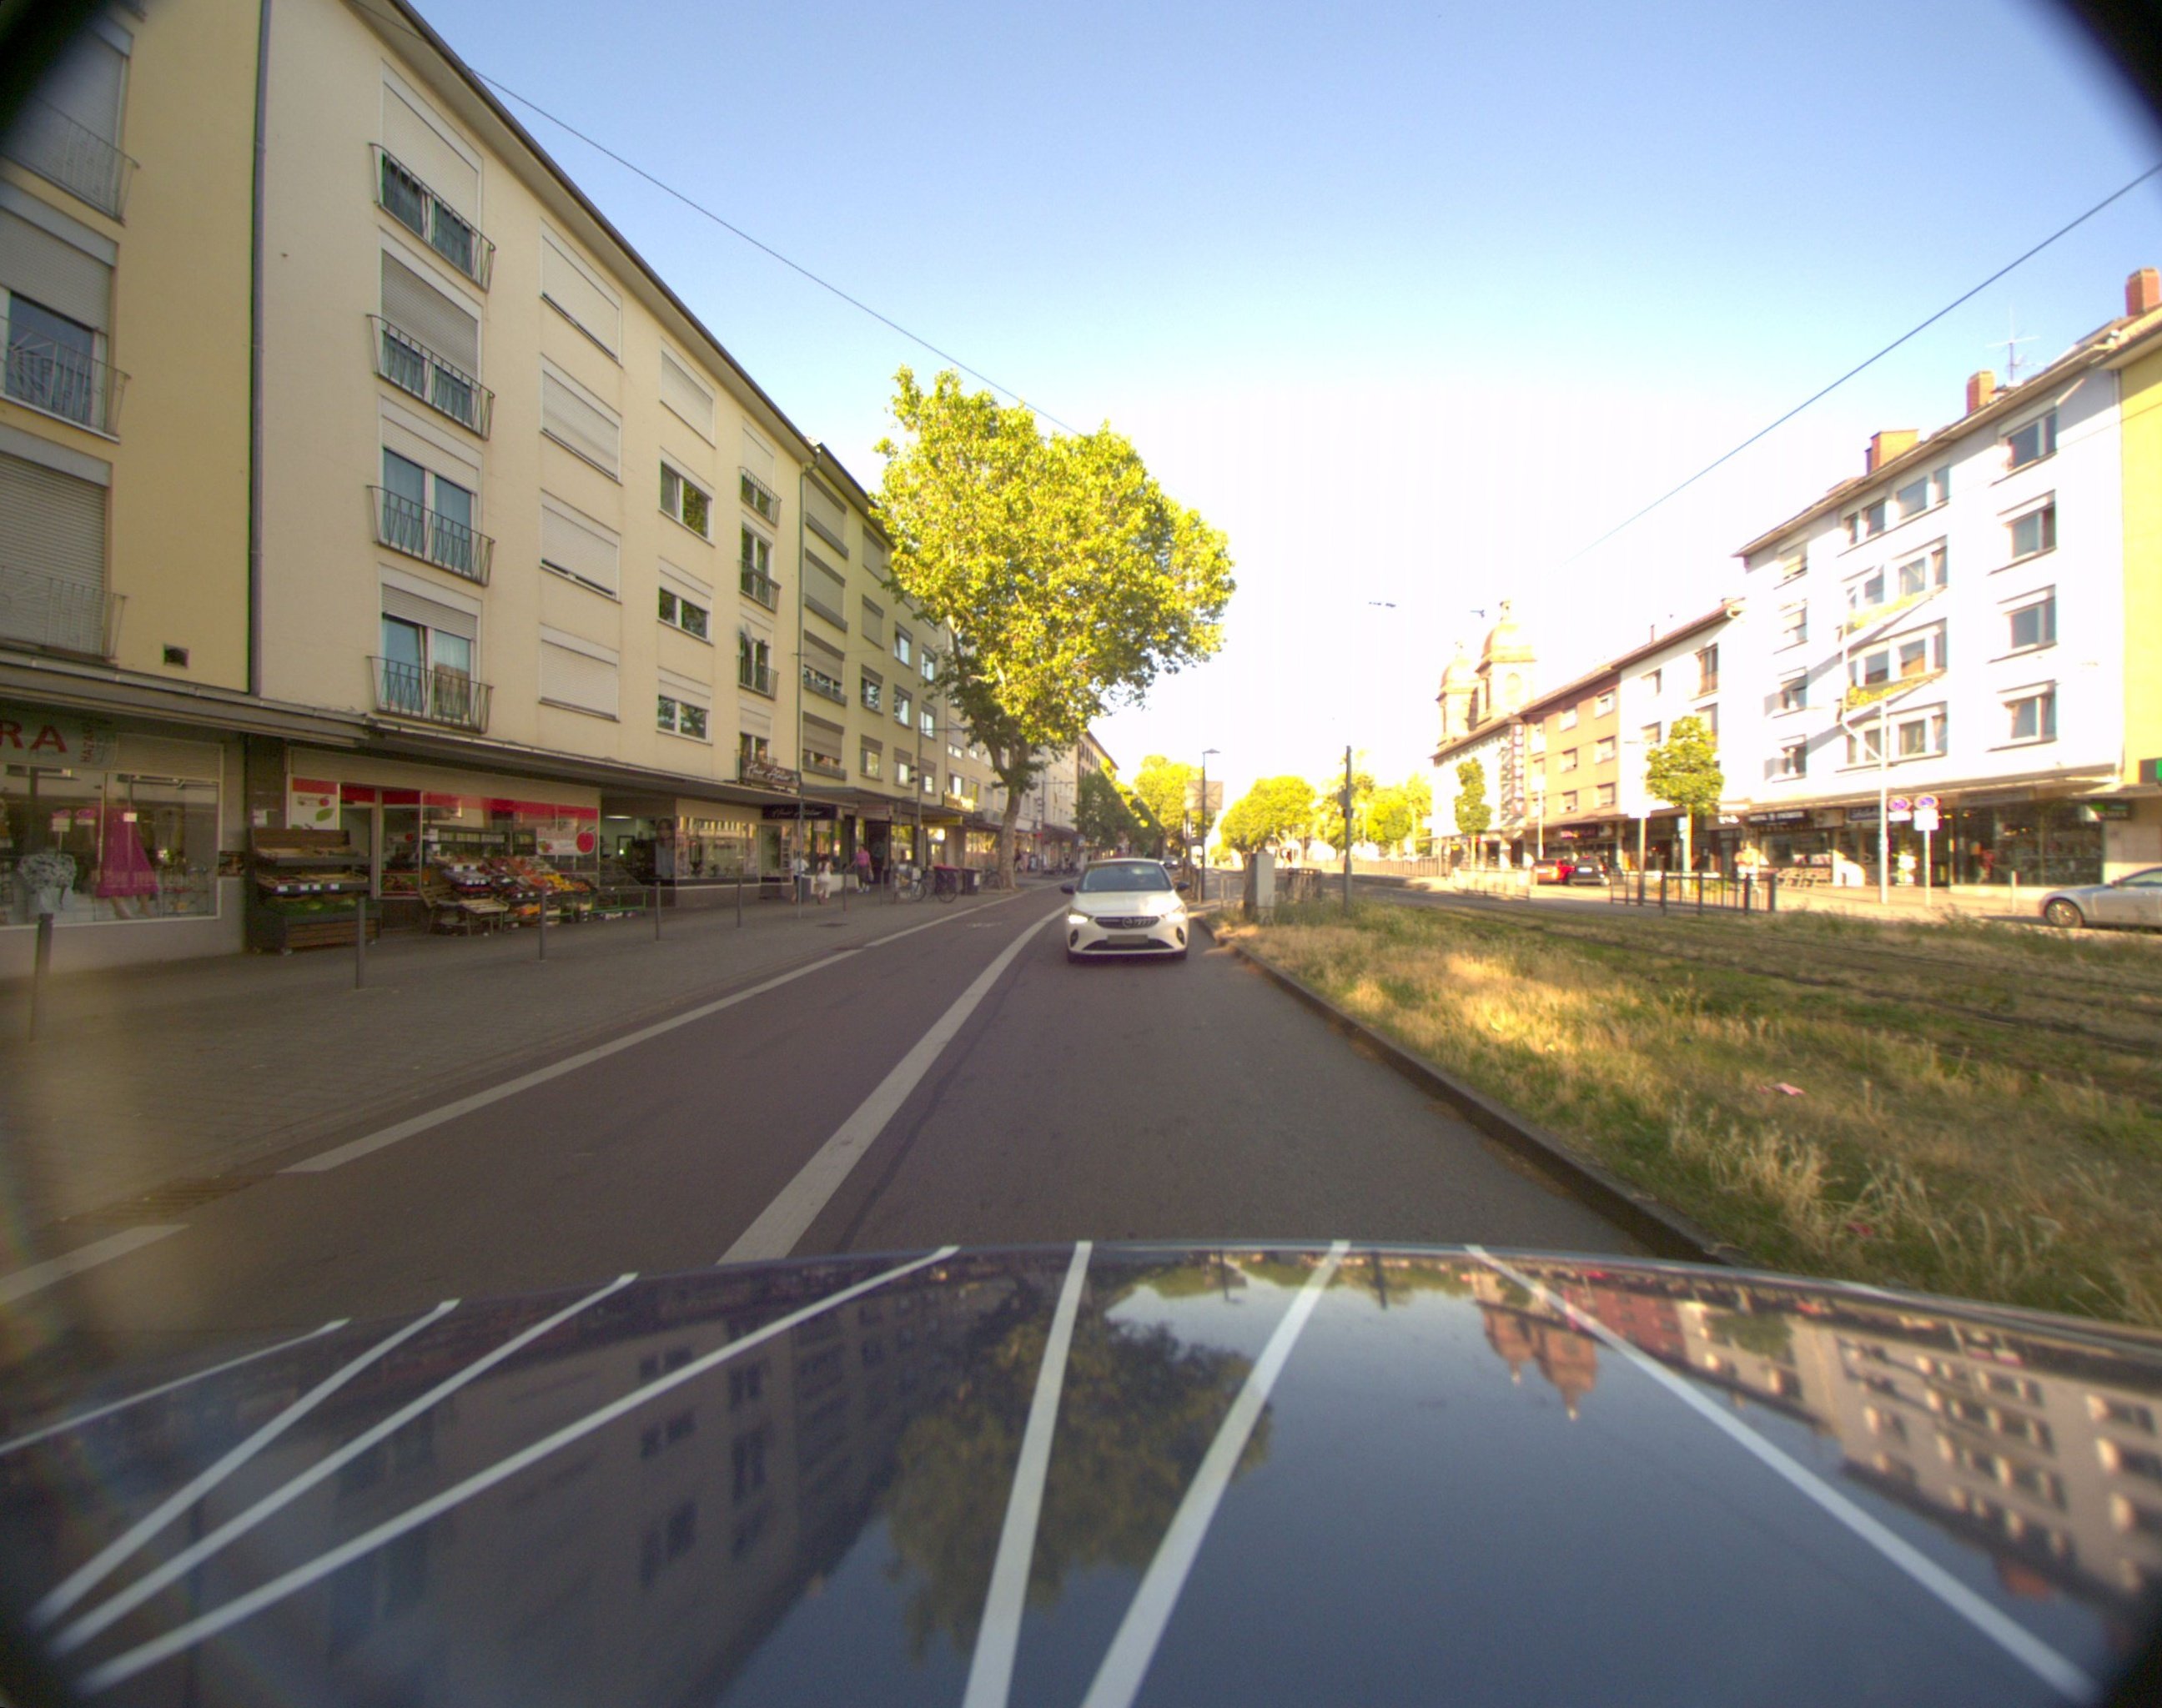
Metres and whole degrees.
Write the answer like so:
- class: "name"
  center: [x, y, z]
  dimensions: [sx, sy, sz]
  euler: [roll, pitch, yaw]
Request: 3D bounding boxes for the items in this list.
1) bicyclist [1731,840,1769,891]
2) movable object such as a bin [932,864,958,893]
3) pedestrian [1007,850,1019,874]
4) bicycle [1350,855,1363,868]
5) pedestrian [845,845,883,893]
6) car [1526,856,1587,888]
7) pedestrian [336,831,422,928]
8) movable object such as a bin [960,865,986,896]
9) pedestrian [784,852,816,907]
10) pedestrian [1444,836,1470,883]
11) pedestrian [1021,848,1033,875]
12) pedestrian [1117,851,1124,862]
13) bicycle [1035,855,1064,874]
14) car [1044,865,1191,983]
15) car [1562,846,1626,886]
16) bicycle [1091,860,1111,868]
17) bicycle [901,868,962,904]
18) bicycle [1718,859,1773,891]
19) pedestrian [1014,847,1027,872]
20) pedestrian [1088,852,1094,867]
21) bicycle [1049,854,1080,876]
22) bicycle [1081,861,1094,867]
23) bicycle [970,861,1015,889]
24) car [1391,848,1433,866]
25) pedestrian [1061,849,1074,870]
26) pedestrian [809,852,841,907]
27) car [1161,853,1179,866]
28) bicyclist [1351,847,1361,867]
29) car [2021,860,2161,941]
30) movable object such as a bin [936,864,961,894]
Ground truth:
- class: "bicyclist"
  center: [25.261, 0.425, 28.707]
  dimensions: [0.693, 1.875, 1.059]
  euler: [-1, 0, 17]
- class: "movable object such as a bin"
  center: [-5.350, 0.954, 29.898]
  dimensions: [0.722, 1.066, 0.645]
  euler: [2, 2, 27]
- class: "pedestrian"
  center: [-4.286, 0.497, 47.855]
  dimensions: [0.541, 1.493, 0.896]
  euler: [2, 0, 9]
- class: "bicycle"
  center: [26.914, 0.697, 74.334]
  dimensions: [0.719, 1.223, 2.279]
  euler: [1, 0, 7]
- class: "pedestrian"
  center: [-8.169, 0.545, 28.590]
  dimensions: [0.969, 1.753, 1.134]
  euler: [1, 2, 9]
- class: "car"
  center: [25.616, 0.940, 40.913]
  dimensions: [3.777, 1.482, 1.859]
  euler: [-3, 0, -43]
- class: "pedestrian"
  center: [-12.983, 0.455, 14.072]
  dimensions: [0.685, 1.733, 0.880]
  euler: [-2, 1, 5]
- class: "movable object such as a bin"
  center: [-4.144, 1.019, 29.100]
  dimensions: [0.723, 1.096, 0.645]
  euler: [4, 2, 15]
- class: "pedestrian"
  center: [-8.223, 0.738, 22.281]
  dimensions: [0.623, 1.577, 0.627]
  euler: [2, 1, 7]
- class: "pedestrian"
  center: [15.000, 0.215, 30.339]
  dimensions: [0.743, 1.838, 0.590]
  euler: [0, 0, 3]
- class: "pedestrian"
  center: [-3.353, 0.481, 47.174]
  dimensions: [0.547, 1.619, 0.896]
  euler: [2, 0, 9]
- class: "pedestrian"
  center: [6.149, 0.381, 118.170]
  dimensions: [0.851, 1.645, 0.916]
  euler: [-2, 1, 8]
- class: "bicycle"
  center: [-2.131, 0.715, 51.309]
  dimensions: [1.794, 1.118, 0.663]
  euler: [4, 1, -19]
- class: "car"
  center: [0.544, 0.912, 11.484]
  dimensions: [1.826, 1.433, 3.828]
  euler: [-1, 0, 2]
- class: "car"
  center: [25.801, 0.600, 38.178]
  dimensions: [3.777, 1.789, 1.859]
  euler: [-3, 1, -43]
- class: "bicycle"
  center: [1.869, 0.919, 71.468]
  dimensions: [1.762, 0.773, 0.702]
  euler: [1, 0, -14]
- class: "bicycle"
  center: [-4.951, 1.048, 25.160]
  dimensions: [1.909, 1.098, 0.519]
  euler: [2, 1, 14]
- class: "bicycle"
  center: [25.352, 0.781, 29.052]
  dimensions: [0.706, 1.152, 2.201]
  euler: [-3, 0, 17]
- class: "pedestrian"
  center: [-4.206, 0.386, 52.641]
  dimensions: [0.569, 1.665, 1.070]
  euler: [2, 1, 9]
- class: "pedestrian"
  center: [1.067, 0.581, 78.671]
  dimensions: [0.490, 1.559, 0.649]
  euler: [2, 1, 10]
- class: "bicycle"
  center: [-1.078, 0.720, 50.252]
  dimensions: [1.788, 1.304, 0.695]
  euler: [6, 2, 20]
- class: "bicycle"
  center: [0.616, 0.938, 71.677]
  dimensions: [0.840, 0.569, 1.758]
  euler: [1, 0, -14]
- class: "bicycle"
  center: [-3.649, 0.860, 31.393]
  dimensions: [1.721, 1.111, 0.745]
  euler: [0, 4, 8]
- class: "car"
  center: [29.860, 0.244, 68.550]
  dimensions: [4.007, 1.477, 1.739]
  euler: [-2, 0, -39]
- class: "pedestrian"
  center: [-1.132, 0.465, 64.290]
  dimensions: [0.774, 1.789, 0.931]
  euler: [3, 1, 10]
- class: "pedestrian"
  center: [-7.543, 0.745, 22.400]
  dimensions: [0.636, 1.577, 0.627]
  euler: [2, 1, 7]
- class: "car"
  center: [9.593, 0.585, 82.301]
  dimensions: [1.717, 1.390, 4.001]
  euler: [-2, 0, 4]
- class: "bicyclist"
  center: [26.927, 0.300, 74.353]
  dimensions: [0.765, 2.002, 0.912]
  euler: [1, 0, 7]
- class: "car"
  center: [21.828, 0.908, 14.704]
  dimensions: [1.998, 1.469, 4.412]
  euler: [-2, 0, 5]
- class: "movable object such as a bin"
  center: [-5.066, 0.949, 29.040]
  dimensions: [0.723, 1.066, 0.644]
  euler: [5, 2, 6]
